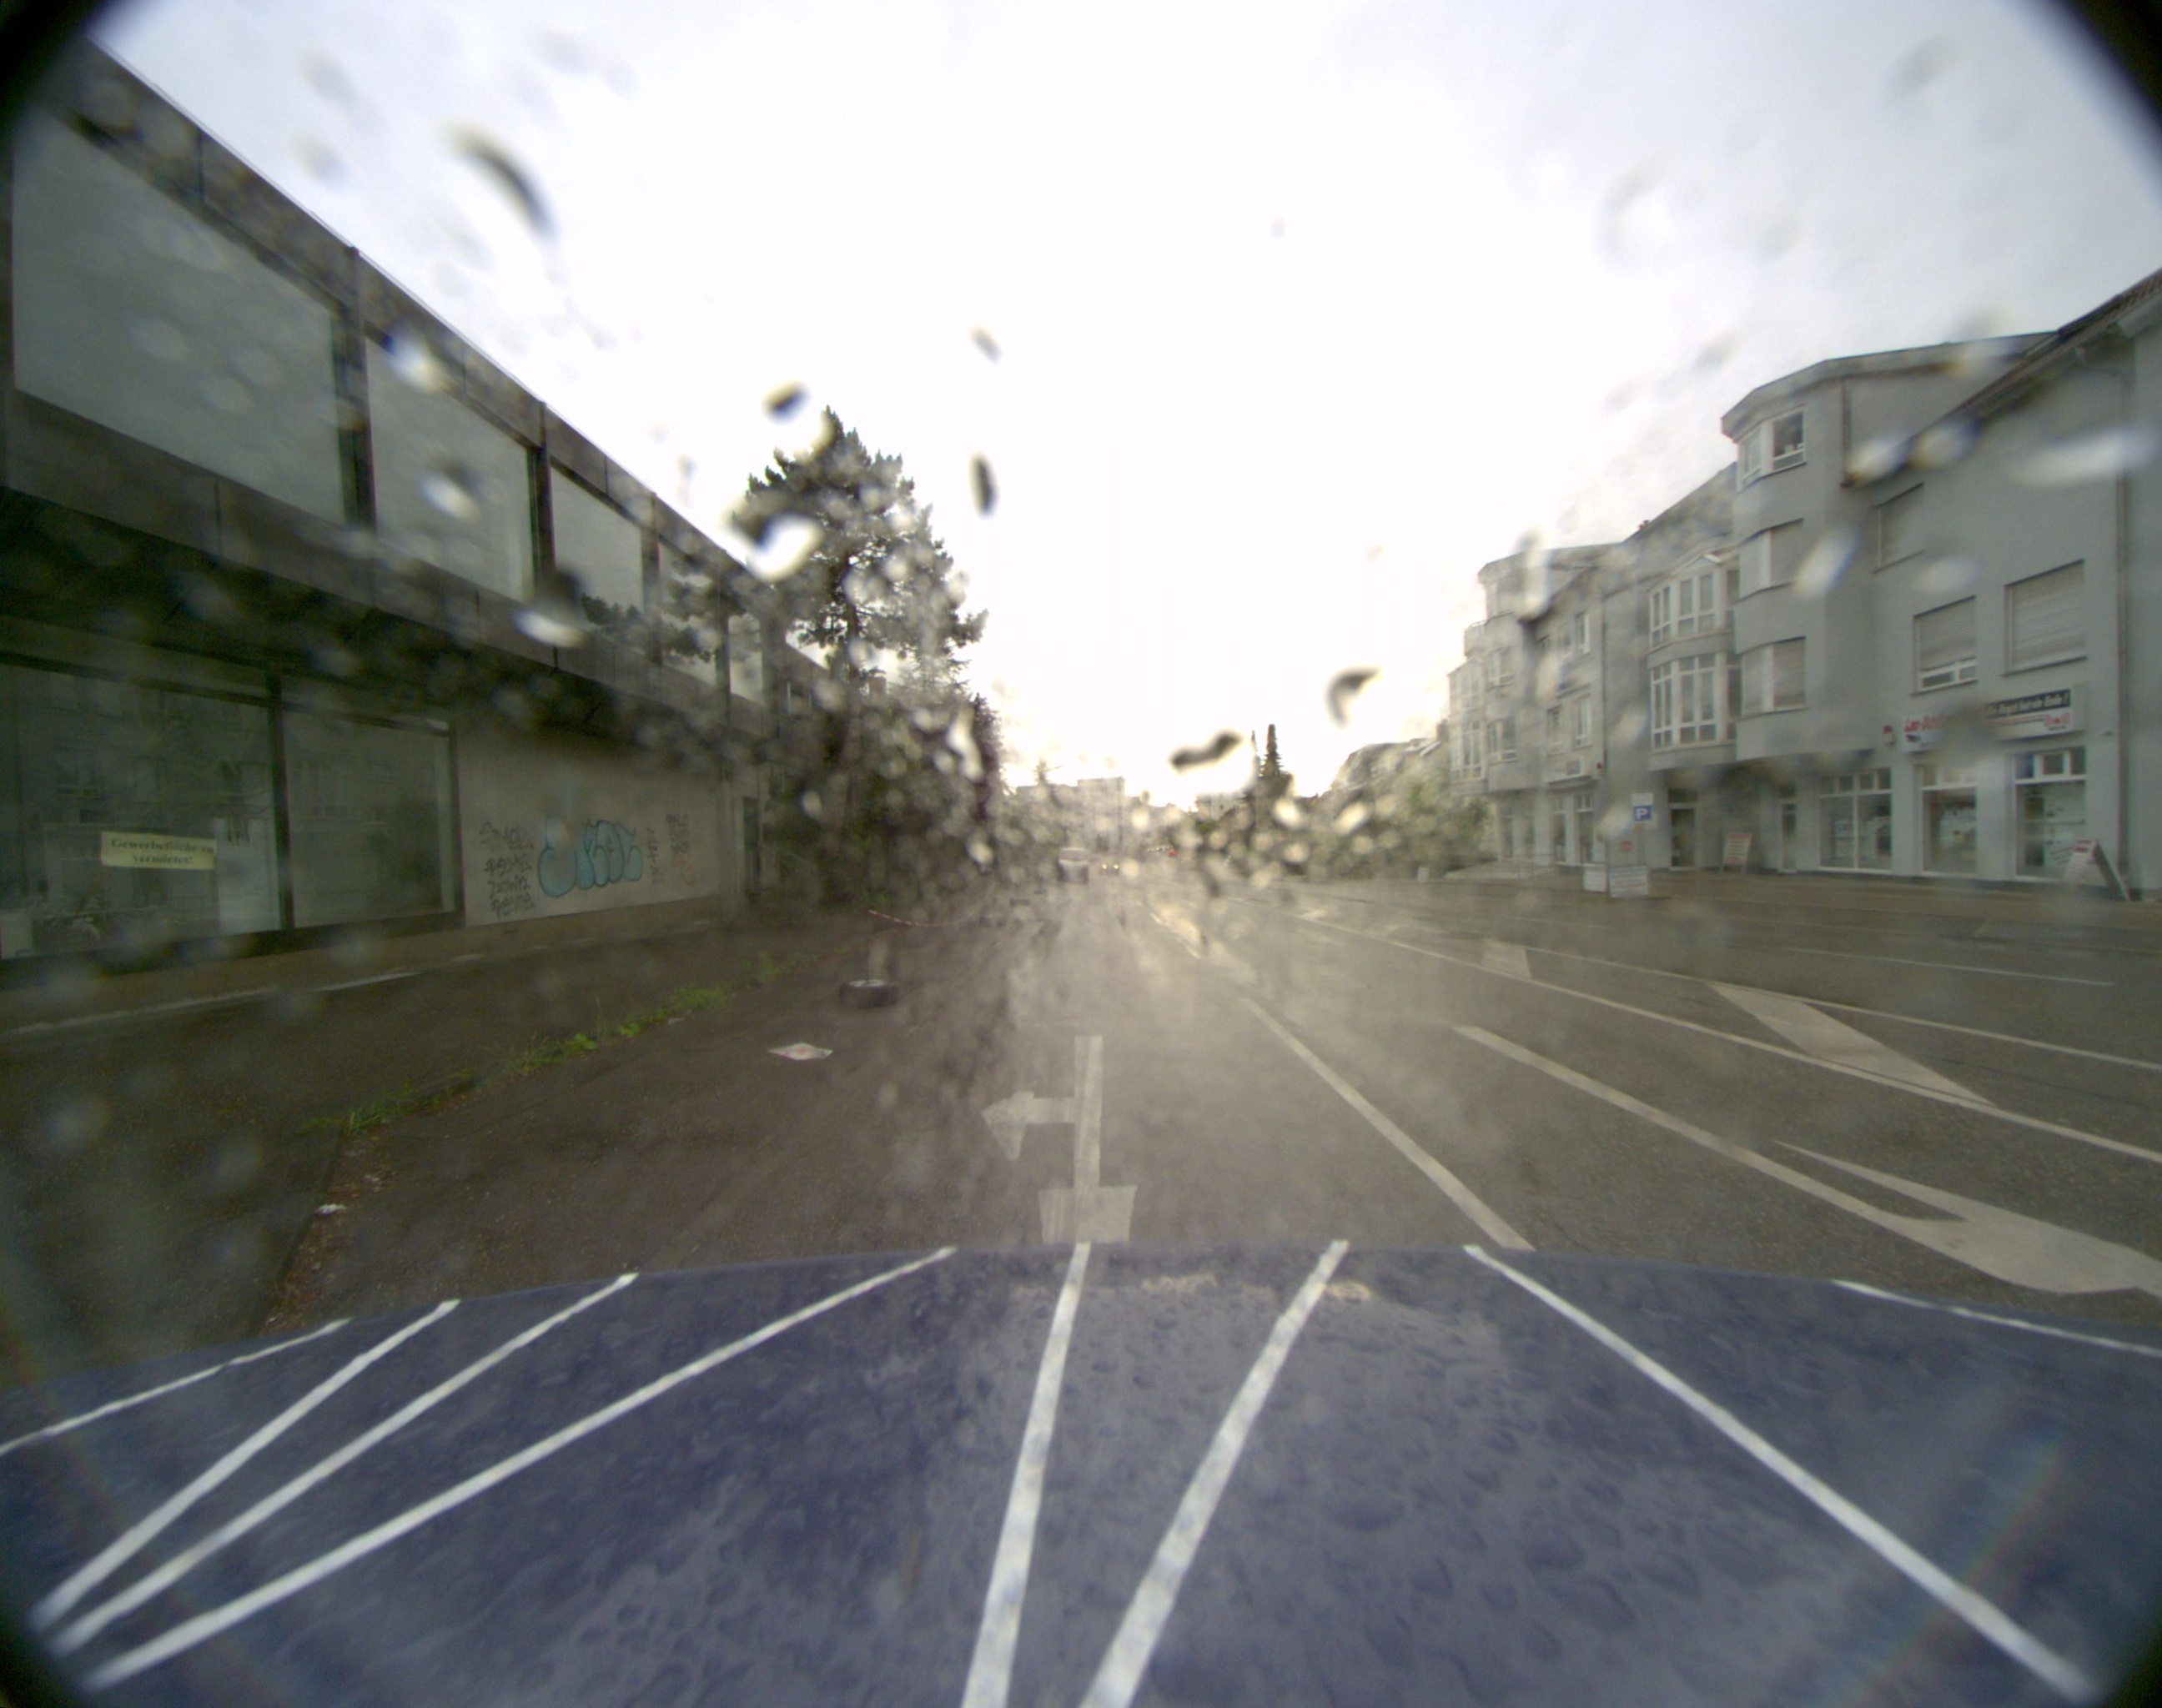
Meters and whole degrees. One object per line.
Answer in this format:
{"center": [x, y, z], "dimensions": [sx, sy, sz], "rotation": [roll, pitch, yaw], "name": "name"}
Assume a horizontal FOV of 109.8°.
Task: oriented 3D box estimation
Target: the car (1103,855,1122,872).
{"center": [3.050, 0.880, 74.093], "dimensions": [1.754, 1.534, 4.676], "rotation": [-1, 1, 1], "name": "car"}

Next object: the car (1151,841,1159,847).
{"center": [23.490, -3.267, 241.880], "dimensions": [1.996, 1.808, 4.003], "rotation": [-2, 1, 14], "name": "car"}

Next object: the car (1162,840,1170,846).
{"center": [26.723, -3.353, 239.084], "dimensions": [1.998, 1.774, 4.000], "rotation": [-2, 1, 3], "name": "car"}

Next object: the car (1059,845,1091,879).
{"center": [-0.344, 0.470, 50.424], "dimensions": [1.998, 2.072, 3.999], "rotation": [-2, 1, 1], "name": "car"}
